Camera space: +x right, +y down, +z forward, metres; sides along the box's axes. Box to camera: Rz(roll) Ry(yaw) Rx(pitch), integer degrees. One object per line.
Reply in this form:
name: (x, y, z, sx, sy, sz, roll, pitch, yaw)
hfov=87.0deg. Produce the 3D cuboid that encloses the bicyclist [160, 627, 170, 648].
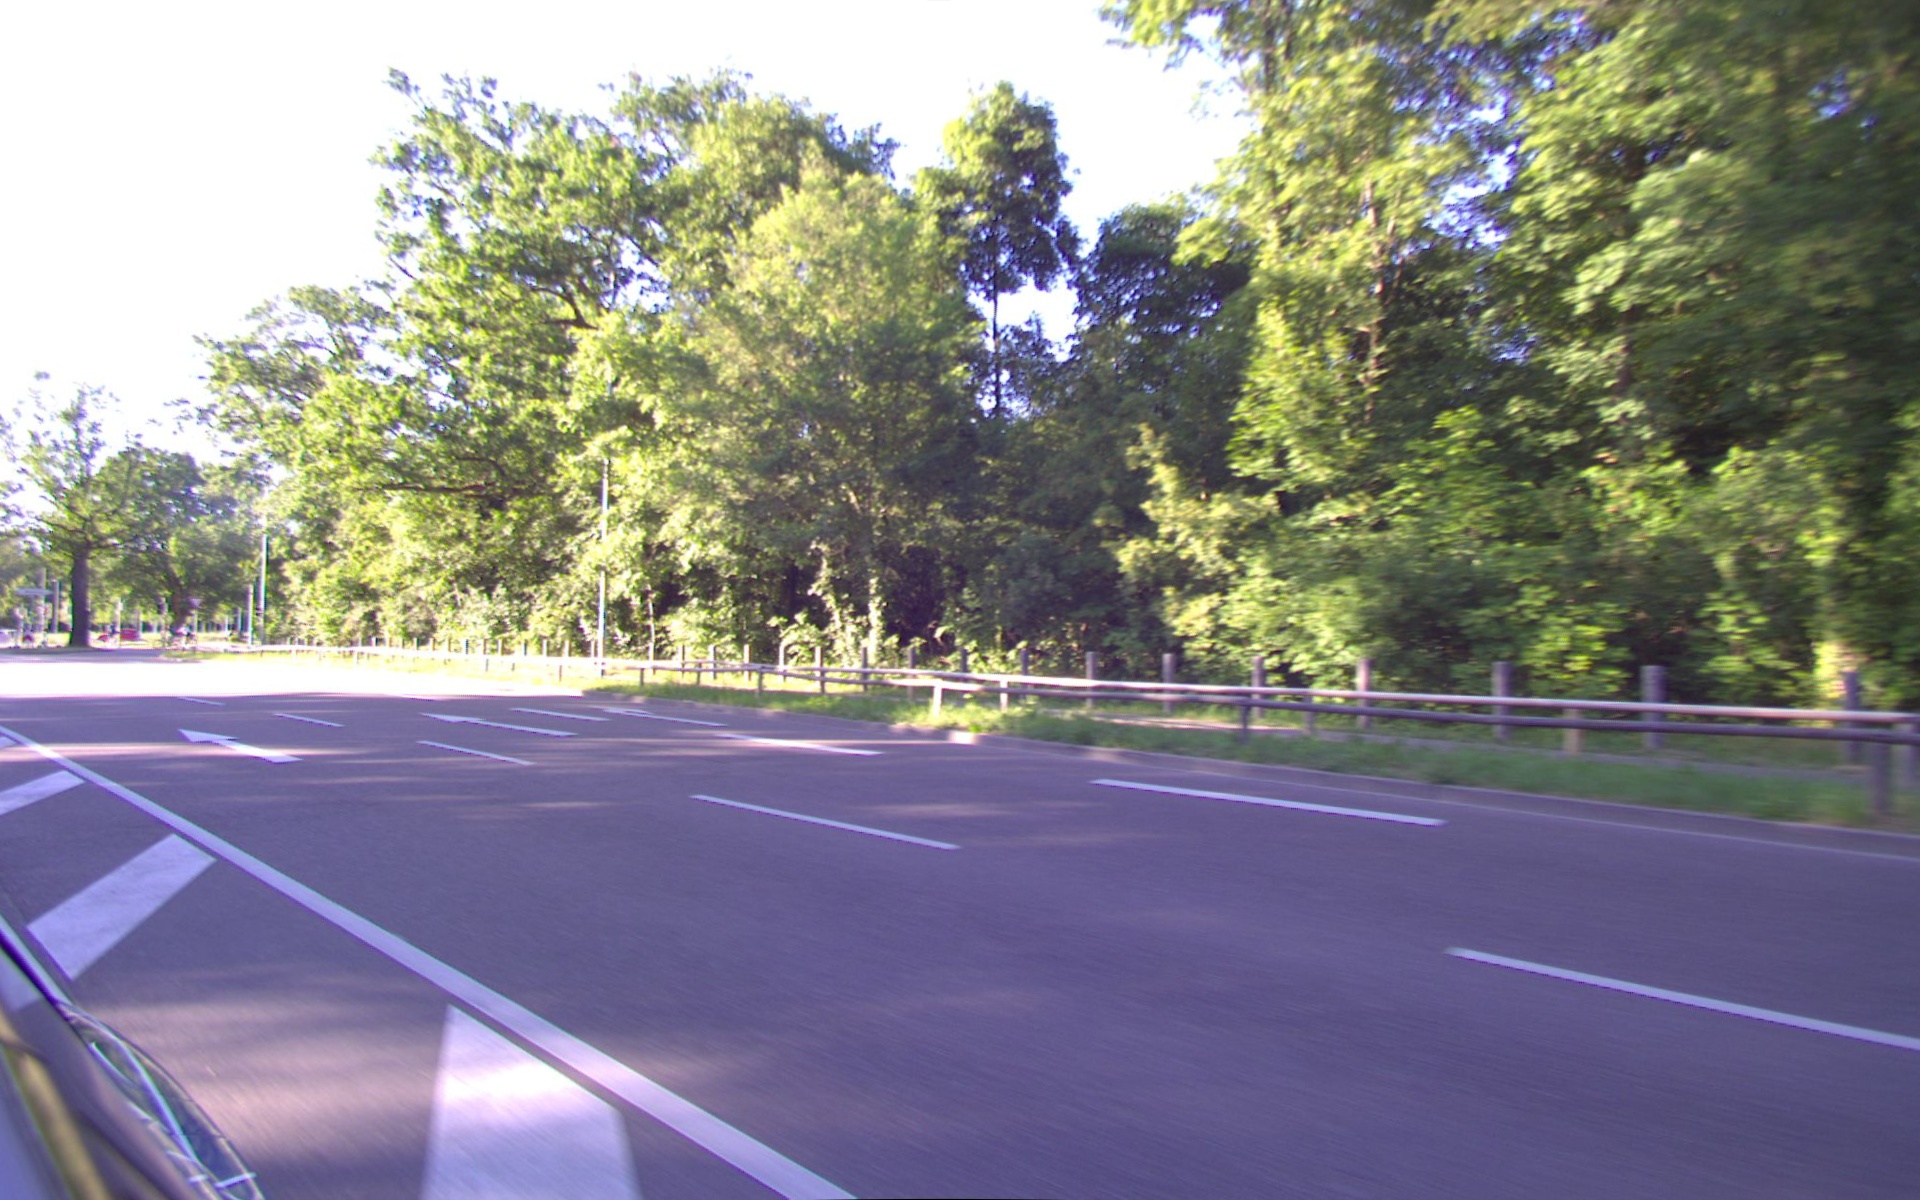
bicyclist: (-54.116, 2.539, 68.877, 0.521, 1.411, 0.520, 0, -1, -39)

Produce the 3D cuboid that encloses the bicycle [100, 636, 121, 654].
bicycle: (-58.878, 3.125, 70.139, 1.980, 1.163, 0.674, -4, -3, 36)

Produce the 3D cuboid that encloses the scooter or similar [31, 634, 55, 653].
scooter or similar: (-55.717, 2.630, 61.478, 0.394, 1.155, 1.055, -3, -3, 43)

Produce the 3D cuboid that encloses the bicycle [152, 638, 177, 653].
bicycle: (-54.126, 3.094, 68.867, 1.334, 0.984, 0.523, 0, -1, -39)

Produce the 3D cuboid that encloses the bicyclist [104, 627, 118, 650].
bicyclist: (-58.702, 2.680, 69.982, 0.798, 1.563, 0.557, -4, -3, 35)

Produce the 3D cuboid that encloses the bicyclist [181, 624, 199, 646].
bicyclist: (-54.573, 2.464, 71.725, 0.787, 1.494, 0.731, -1, -1, -9)

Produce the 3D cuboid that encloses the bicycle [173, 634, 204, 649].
bicycle: (-54.661, 2.939, 71.708, 1.565, 0.984, 0.786, -1, -1, -9)

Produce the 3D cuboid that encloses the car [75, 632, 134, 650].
car: (-77.093, 3.684, 91.276, 3.933, 1.521, 1.661, 0, -1, -34)
